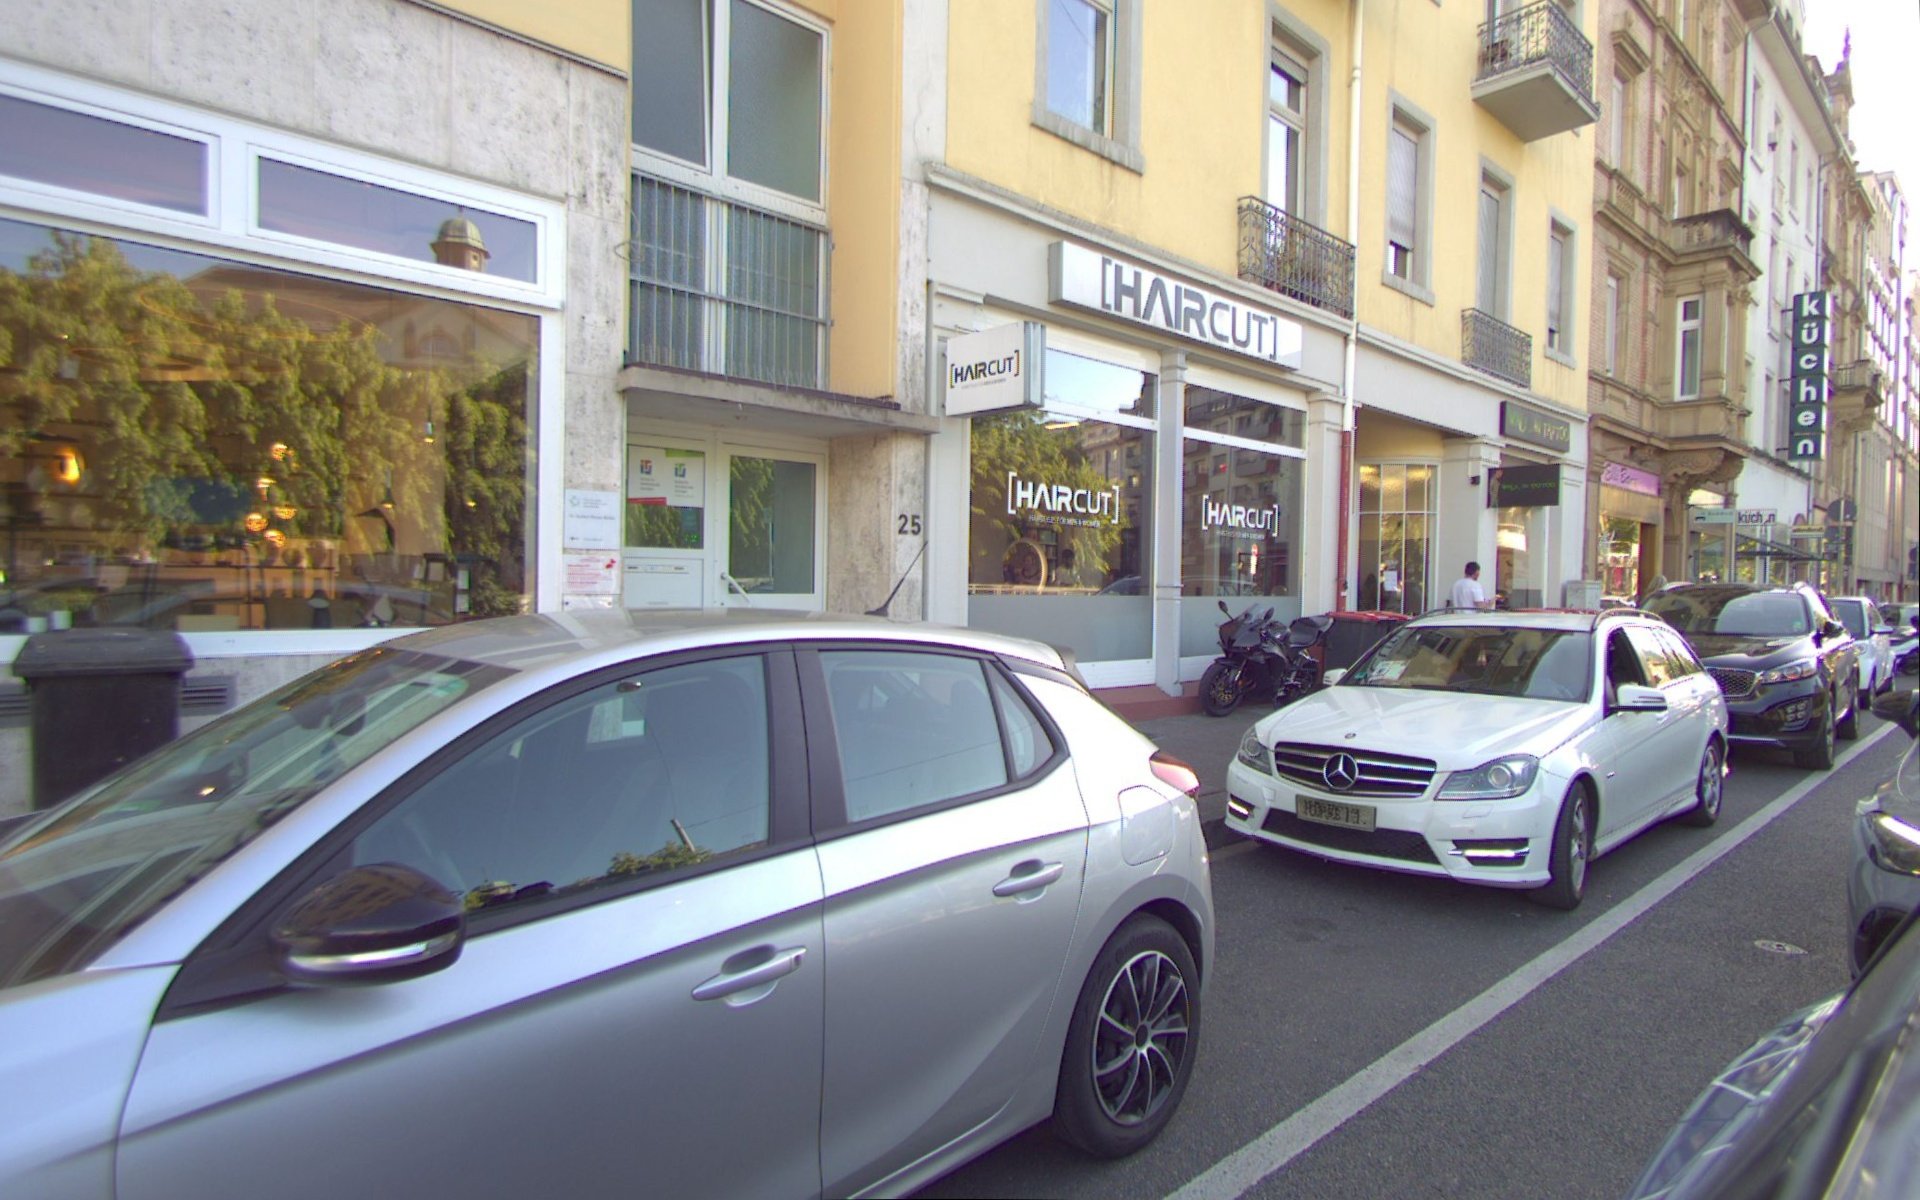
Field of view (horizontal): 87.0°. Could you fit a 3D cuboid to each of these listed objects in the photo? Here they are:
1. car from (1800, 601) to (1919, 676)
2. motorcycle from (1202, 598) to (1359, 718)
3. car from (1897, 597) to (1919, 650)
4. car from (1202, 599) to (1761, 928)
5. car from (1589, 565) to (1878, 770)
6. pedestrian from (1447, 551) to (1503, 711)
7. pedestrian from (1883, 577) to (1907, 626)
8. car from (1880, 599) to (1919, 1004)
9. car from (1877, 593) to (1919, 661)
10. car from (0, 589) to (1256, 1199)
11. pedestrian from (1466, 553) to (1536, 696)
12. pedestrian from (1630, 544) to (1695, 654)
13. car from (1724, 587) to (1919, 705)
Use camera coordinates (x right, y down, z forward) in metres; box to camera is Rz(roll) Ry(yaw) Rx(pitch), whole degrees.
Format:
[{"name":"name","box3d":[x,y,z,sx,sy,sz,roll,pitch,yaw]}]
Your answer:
[{"name":"car","box3d":[17.957,0.682,19.807,4.016,1.282,1.800,-1,1,-42]},{"name":"motorcycle","box3d":[3.329,0.548,10.418,1.920,1.091,0.567,-1,4,-41]},{"name":"car","box3d":[26.606,0.603,27.182,3.773,1.357,1.800,-1,1,-42]},{"name":"car","box3d":[3.535,0.708,6.455,4.302,1.376,1.703,-1,0,-41]},{"name":"car","box3d":[8.020,0.524,10.336,4.176,1.659,1.799,-1,0,-45]},{"name":"pedestrian","box3d":[6.622,0.382,13.031,0.367,2.008,0.693,1,1,5]},{"name":"pedestrian","box3d":[35.997,0.046,38.961,0.653,1.874,0.574,0,0,-40]},{"name":"car","box3d":[5.275,0.686,4.232,3.933,1.376,1.800,-1,1,-43]},{"name":"car","box3d":[22.248,0.565,23.033,4.016,1.450,1.657,-1,0,-42]},{"name":"car","box3d":[-0.989,0.706,2.284,3.597,1.445,1.549,-1,1,-42]},{"name":"pedestrian","box3d":[7.348,0.318,13.747,0.565,1.874,0.664,0,0,-39]},{"name":"pedestrian","box3d":[11.057,-0.016,15.945,0.711,1.675,0.601,0,-1,23]},{"name":"car","box3d":[13.159,0.581,15.351,4.016,1.546,1.800,-1,0,-42]}]
